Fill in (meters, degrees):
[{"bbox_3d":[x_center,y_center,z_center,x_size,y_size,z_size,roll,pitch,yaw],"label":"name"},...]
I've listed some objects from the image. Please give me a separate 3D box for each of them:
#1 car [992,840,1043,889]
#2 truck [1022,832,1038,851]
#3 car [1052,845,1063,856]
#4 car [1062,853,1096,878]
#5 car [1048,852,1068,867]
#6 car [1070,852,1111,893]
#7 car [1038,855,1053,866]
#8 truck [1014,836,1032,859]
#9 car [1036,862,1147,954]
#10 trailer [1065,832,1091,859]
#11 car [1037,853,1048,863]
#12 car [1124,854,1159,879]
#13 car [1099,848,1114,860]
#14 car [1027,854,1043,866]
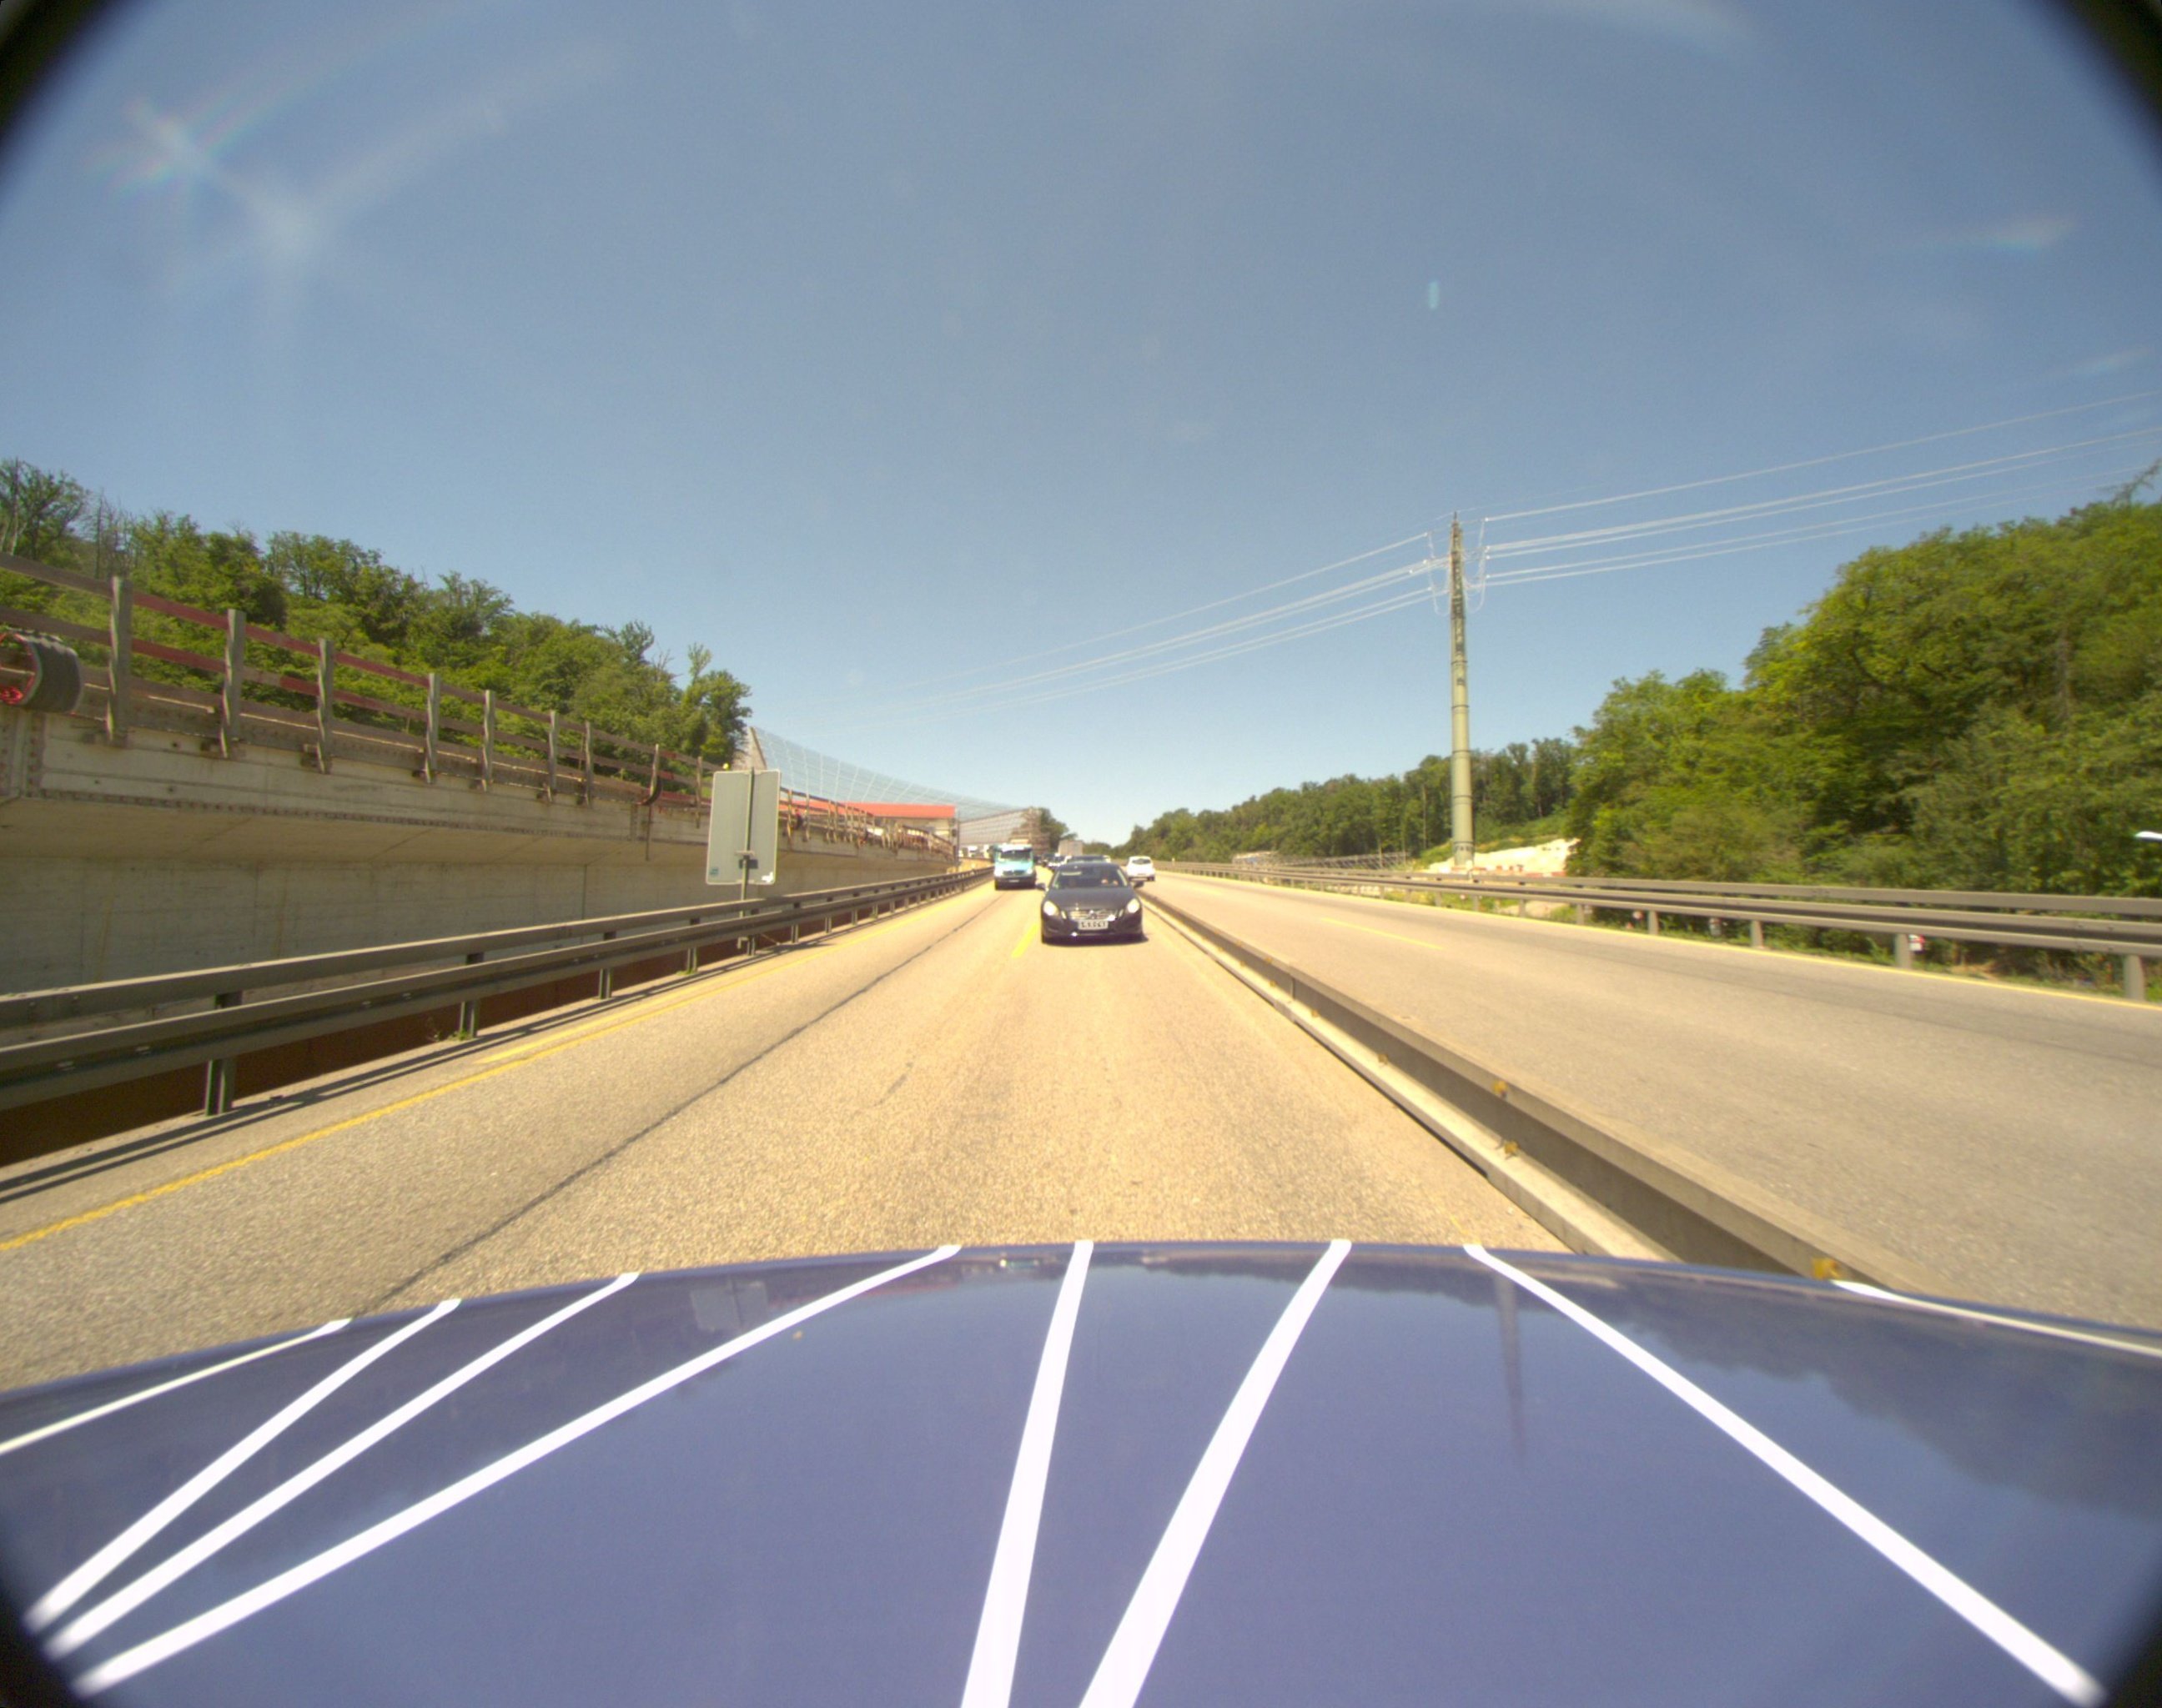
[{"bbox_3d":[-3.228,0.453,40.120,2.217,2.312,6.900,-1,1,-1],"label":"car"},{"bbox_3d":[-14.850,-3.513,220.713,3.567,5.334,16.082,-2,1,-6],"label":"truck"},{"bbox_3d":[-4.160,-0.576,133.916,1.865,1.762,4.230,-2,1,-3],"label":"car"},{"bbox_3d":[-0.209,0.804,56.100,2.298,1.601,4.663,-2,1,-2],"label":"car"},{"bbox_3d":[-2.195,0.529,72.954,1.646,1.366,3.345,-2,1,3],"label":"car"},{"bbox_3d":[0.436,0.713,31.367,1.519,1.543,3.861,-2,1,2],"label":"car"},{"bbox_3d":[-4.805,0.851,102.497,1.648,1.366,3.342,-2,1,-7],"label":"car"},{"bbox_3d":[-9.269,-1.012,121.083,2.472,3.464,9.862,-2,1,-6],"label":"truck"},{"bbox_3d":[0.148,0.934,15.140,1.844,1.475,4.562,-2,0,-1],"label":"car"},{"bbox_3d":[-0.593,-1.478,136.521,3.499,4.460,12.919,-2,1,-5],"label":"trailer"},{"bbox_3d":[-5.928,0.628,118.173,1.647,1.366,3.343,-2,1,-2],"label":"car"},{"bbox_3d":[3.643,0.743,46.118,1.751,1.418,3.709,-1,0,0],"label":"car"},{"bbox_3d":[3.295,0.041,99.052,1.704,1.484,3.999,-1,1,-1],"label":"car"},{"bbox_3d":[-5.631,0.721,92.651,1.648,1.366,3.342,-2,1,-7],"label":"car"}]
